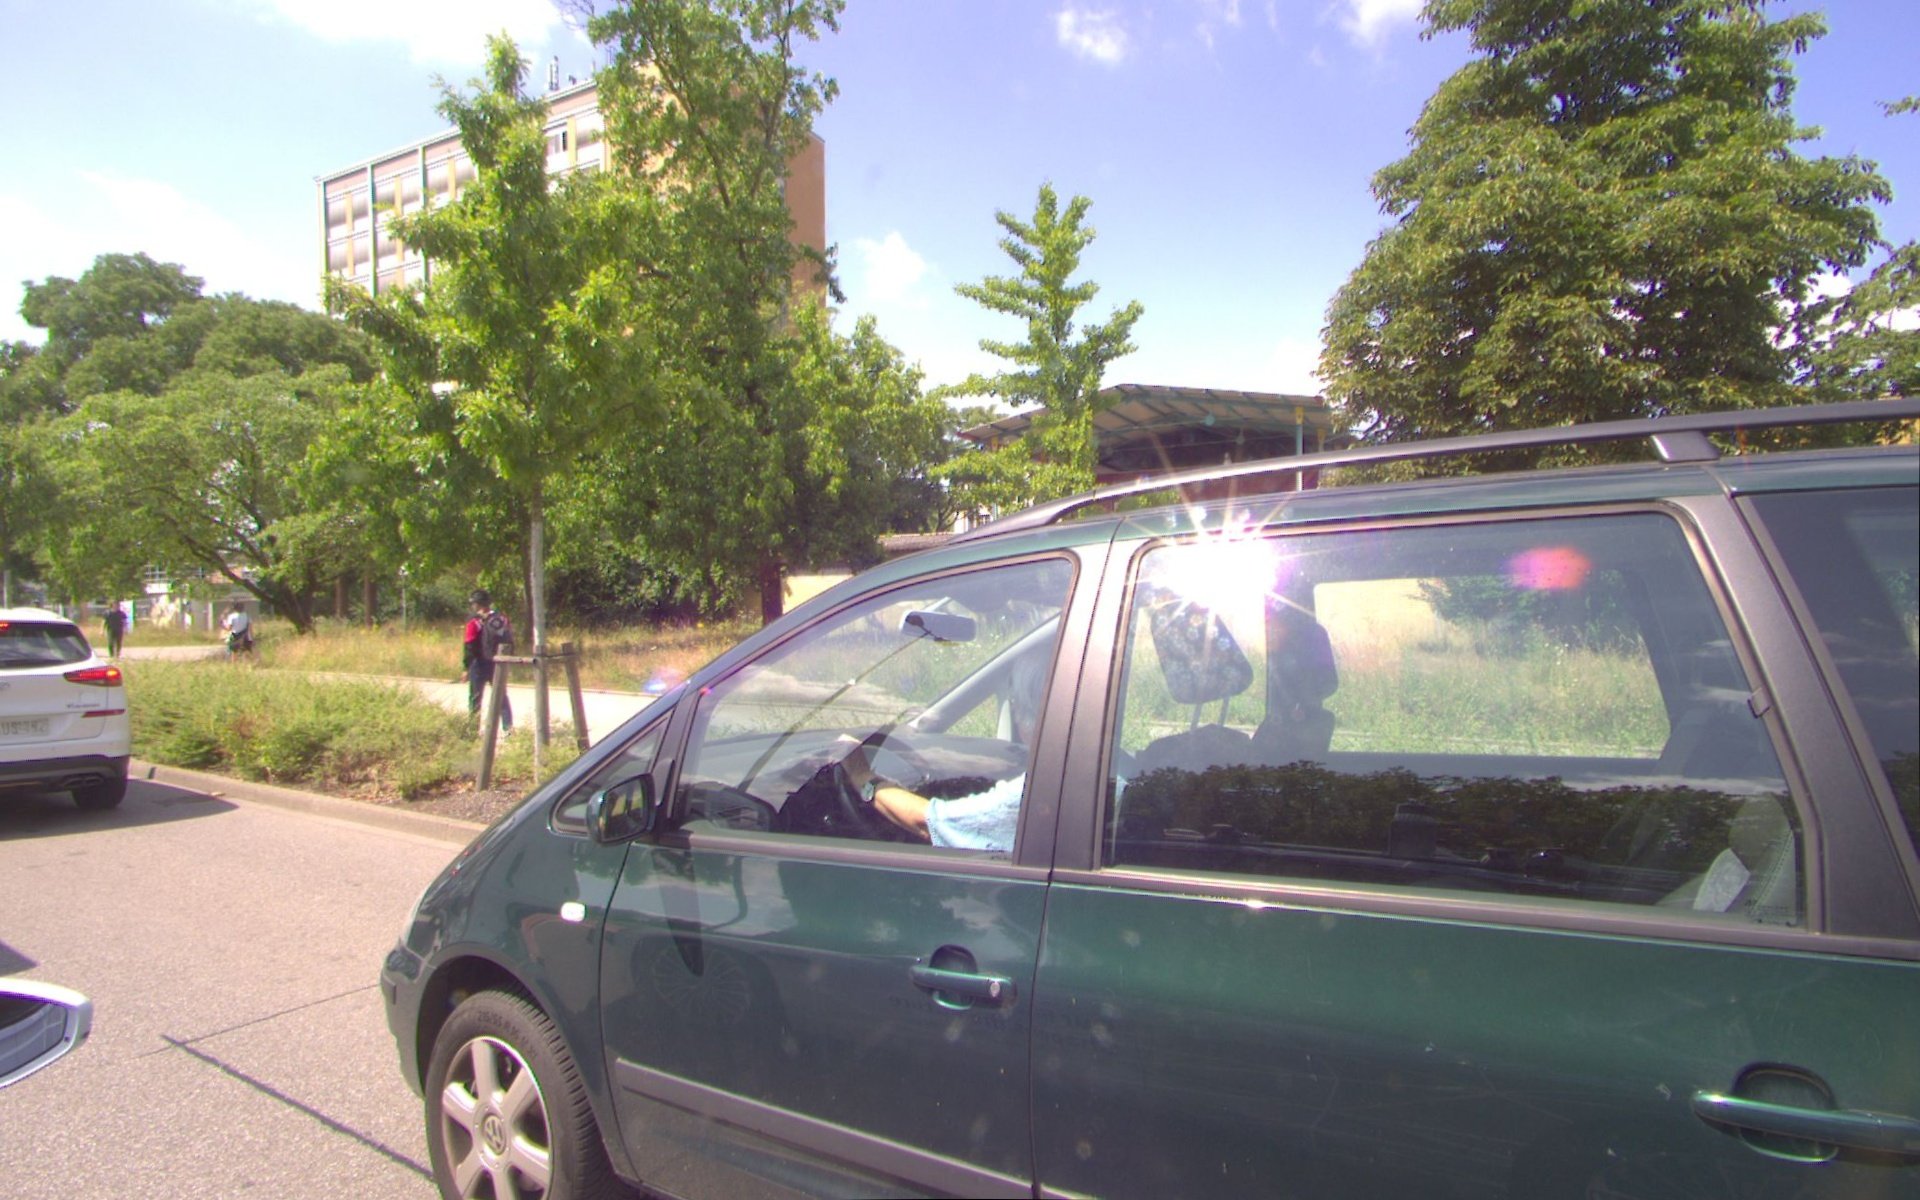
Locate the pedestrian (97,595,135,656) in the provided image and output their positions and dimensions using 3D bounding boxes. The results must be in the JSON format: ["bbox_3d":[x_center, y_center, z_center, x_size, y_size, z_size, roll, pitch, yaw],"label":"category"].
[{"bbox_3d":[-25.686,0.764,30.472,0.806,1.813,0.755,0,0,40],"label":"pedestrian"}]

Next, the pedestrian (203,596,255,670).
[{"bbox_3d":[-16.925,0.760,23.192,0.805,1.677,0.756,0,1,36],"label":"pedestrian"}]

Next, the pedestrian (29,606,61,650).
[{"bbox_3d":[-39.833,1.203,43.599,0.803,1.874,0.759,0,1,24],"label":"pedestrian"}]

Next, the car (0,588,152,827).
[{"bbox_3d":[-8.470,0.776,8.206,3.919,1.700,1.810,0,0,34],"label":"car"}]

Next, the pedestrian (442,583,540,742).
[{"bbox_3d":[-5.301,0.678,11.313,0.807,1.706,0.754,0,1,44],"label":"pedestrian"}]

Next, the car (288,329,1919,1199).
[{"bbox_3d":[0.539,0.643,2.273,4.329,1.737,1.799,0,-2,32],"label":"car"}]

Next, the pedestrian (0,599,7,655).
[{"bbox_3d":[-32.427,0.898,33.412,0.805,1.874,0.756,0,1,36],"label":"pedestrian"}]

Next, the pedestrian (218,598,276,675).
[{"bbox_3d":[-14.928,0.754,20.963,0.805,1.578,0.757,0,1,34],"label":"pedestrian"}]

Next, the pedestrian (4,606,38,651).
[{"bbox_3d":[-40.043,1.205,42.702,0.802,1.874,0.759,0,1,22],"label":"pedestrian"}]
